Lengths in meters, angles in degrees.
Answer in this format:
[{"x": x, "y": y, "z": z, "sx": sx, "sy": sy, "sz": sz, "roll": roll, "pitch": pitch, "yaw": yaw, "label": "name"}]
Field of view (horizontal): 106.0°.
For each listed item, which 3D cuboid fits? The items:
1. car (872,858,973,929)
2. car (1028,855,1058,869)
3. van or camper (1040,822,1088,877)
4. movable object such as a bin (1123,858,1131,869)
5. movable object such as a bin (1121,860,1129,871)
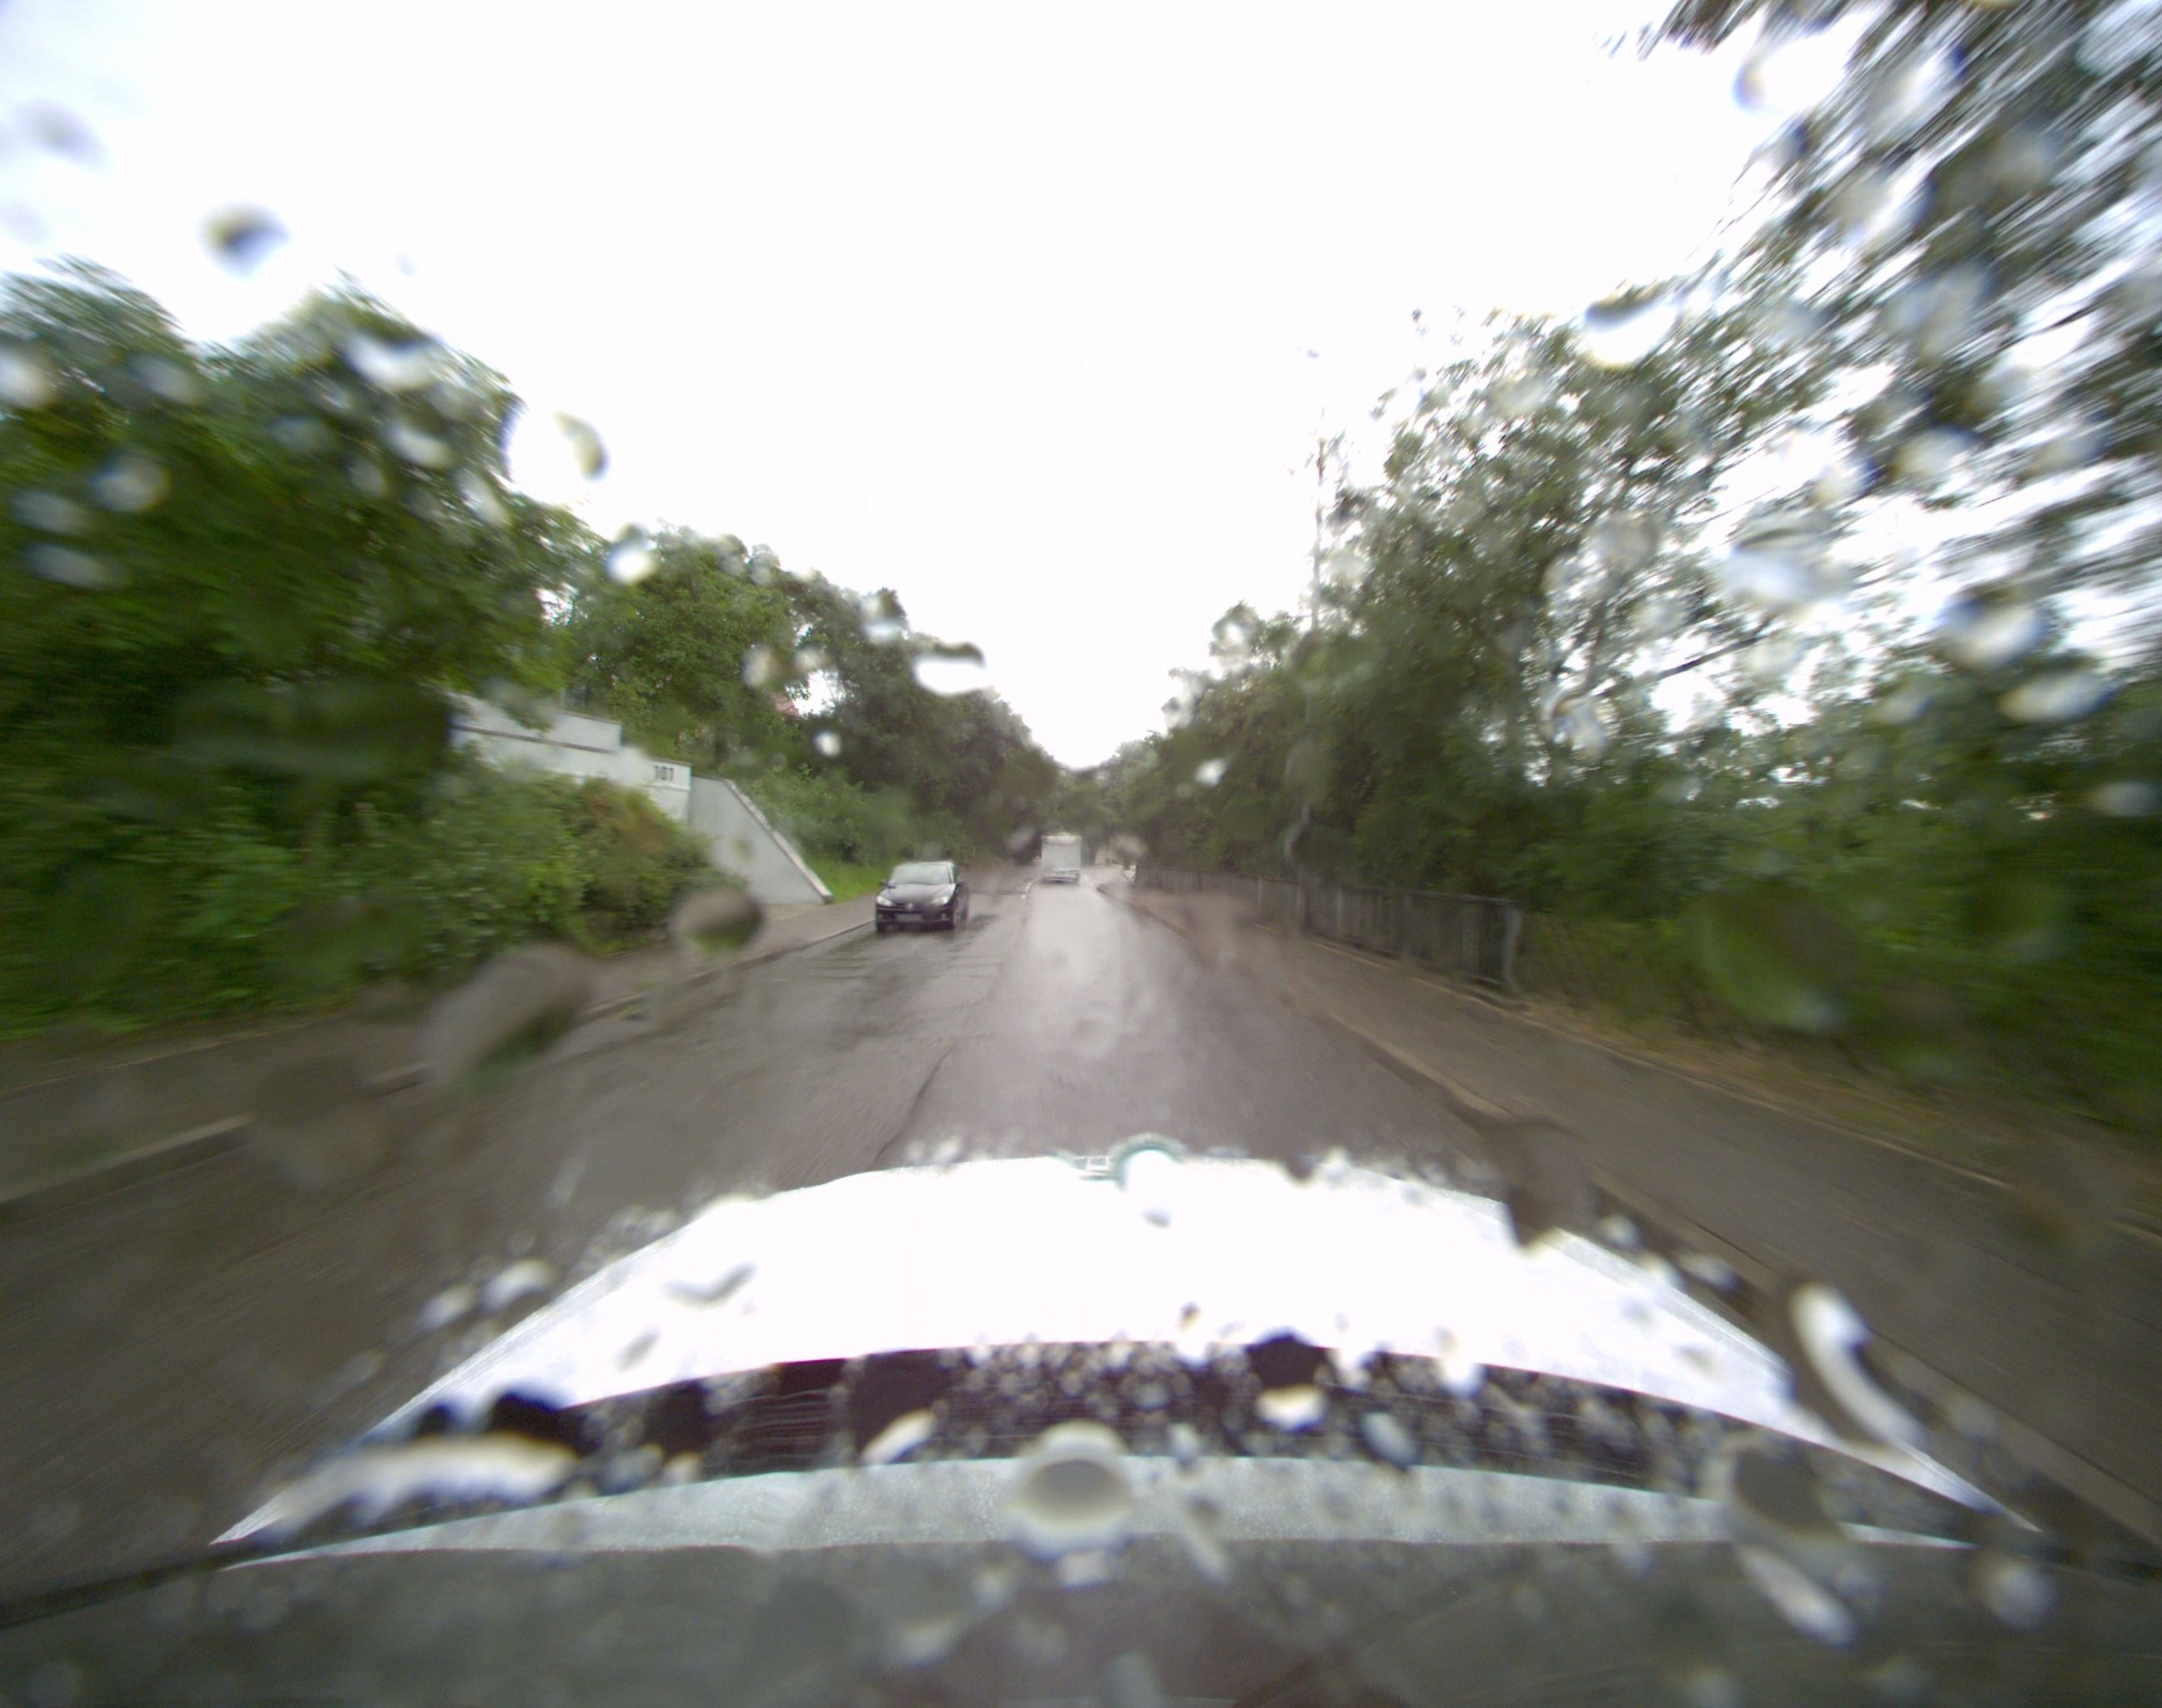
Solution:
[{"x": -3.400, "y": 0.785, "z": 18.011, "sx": 1.646, "sy": 1.385, "sz": 3.526, "roll": -1, "pitch": 0, "yaw": -2, "label": "car"}, {"x": -4.454, "y": 0.957, "z": 95.105, "sx": 1.978, "sy": 1.561, "sz": 4.673, "roll": 2, "pitch": 0, "yaw": 17, "label": "car"}, {"x": -1.113, "y": -0.197, "z": 48.430, "sx": 2.535, "sy": 2.925, "sz": 5.940, "roll": -2, "pitch": -1, "yaw": -3, "label": "van or camper"}, {"x": 4.982, "y": 1.027, "z": 88.348, "sx": 0.773, "sy": 1.133, "sz": 0.739, "roll": 1, "pitch": 0, "yaw": 7, "label": "movable object such as a bin"}, {"x": 4.751, "y": 1.247, "z": 86.991, "sx": 0.773, "sy": 1.133, "sz": 0.739, "roll": 1, "pitch": 0, "yaw": 7, "label": "movable object such as a bin"}]
